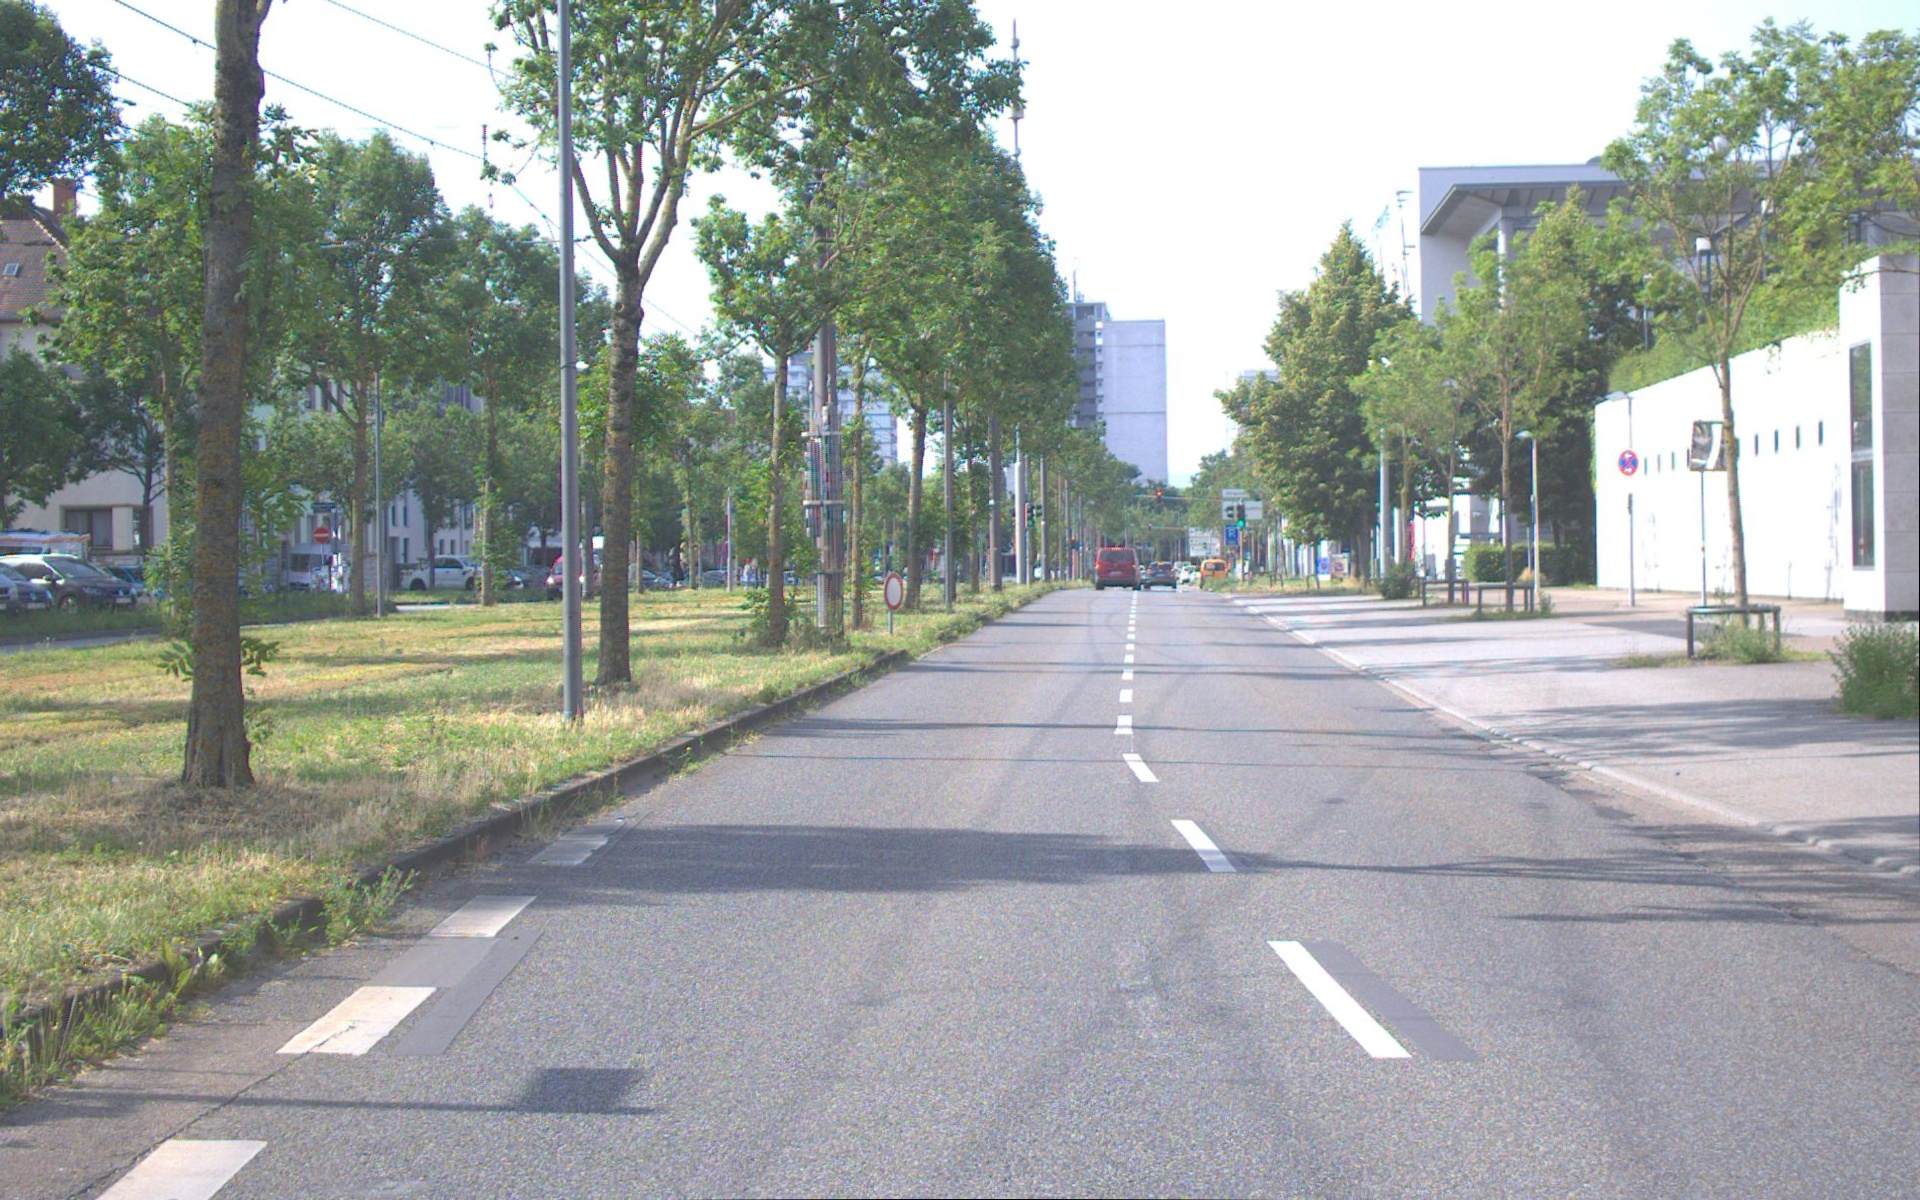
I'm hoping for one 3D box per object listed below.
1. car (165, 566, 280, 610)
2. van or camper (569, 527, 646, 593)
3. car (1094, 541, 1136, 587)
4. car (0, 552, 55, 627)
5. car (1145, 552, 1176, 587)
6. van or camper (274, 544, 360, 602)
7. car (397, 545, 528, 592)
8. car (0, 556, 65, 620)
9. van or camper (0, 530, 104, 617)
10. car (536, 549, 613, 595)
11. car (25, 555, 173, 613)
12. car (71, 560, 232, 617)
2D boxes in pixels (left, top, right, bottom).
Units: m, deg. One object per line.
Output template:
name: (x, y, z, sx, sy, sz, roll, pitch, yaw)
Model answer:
car: (-21.191, -0.341, 98.764, 3.161, 1.157, 1.494, 2, 0, 36)
van or camper: (-14.195, -1.590, 138.706, 2.203, 2.522, 6.030, 2, 0, 2)
car: (6.983, -1.611, 154.569, 1.748, 2.007, 3.215, 2, 0, 4)
car: (-22.500, -0.290, 75.605, 5.215, 1.618, 2.053, 2, 0, 34)
car: (11.956, -1.808, 204.912, 1.748, 2.007, 3.215, 2, 0, 4)
van or camper: (-26.704, -1.107, 142.997, 1.994, 2.320, 5.827, 2, 0, 5)
car: (-19.925, -1.262, 137.509, 5.321, 1.732, 1.996, 2, 0, 37)
car: (-22.755, -0.309, 78.617, 4.471, 1.414, 1.971, 2, 0, 34)
van or camper: (-28.172, -0.804, 105.318, 2.039, 2.558, 6.356, 2, 0, 2)
car: (-14.763, -1.074, 131.715, 1.965, 1.688, 4.296, 2, 0, 7)
car: (-22.420, -0.423, 89.468, 3.996, 1.412, 1.573, 2, 0, 38)
car: (-21.633, -0.303, 91.979, 3.992, 1.412, 1.575, 2, 0, 23)
